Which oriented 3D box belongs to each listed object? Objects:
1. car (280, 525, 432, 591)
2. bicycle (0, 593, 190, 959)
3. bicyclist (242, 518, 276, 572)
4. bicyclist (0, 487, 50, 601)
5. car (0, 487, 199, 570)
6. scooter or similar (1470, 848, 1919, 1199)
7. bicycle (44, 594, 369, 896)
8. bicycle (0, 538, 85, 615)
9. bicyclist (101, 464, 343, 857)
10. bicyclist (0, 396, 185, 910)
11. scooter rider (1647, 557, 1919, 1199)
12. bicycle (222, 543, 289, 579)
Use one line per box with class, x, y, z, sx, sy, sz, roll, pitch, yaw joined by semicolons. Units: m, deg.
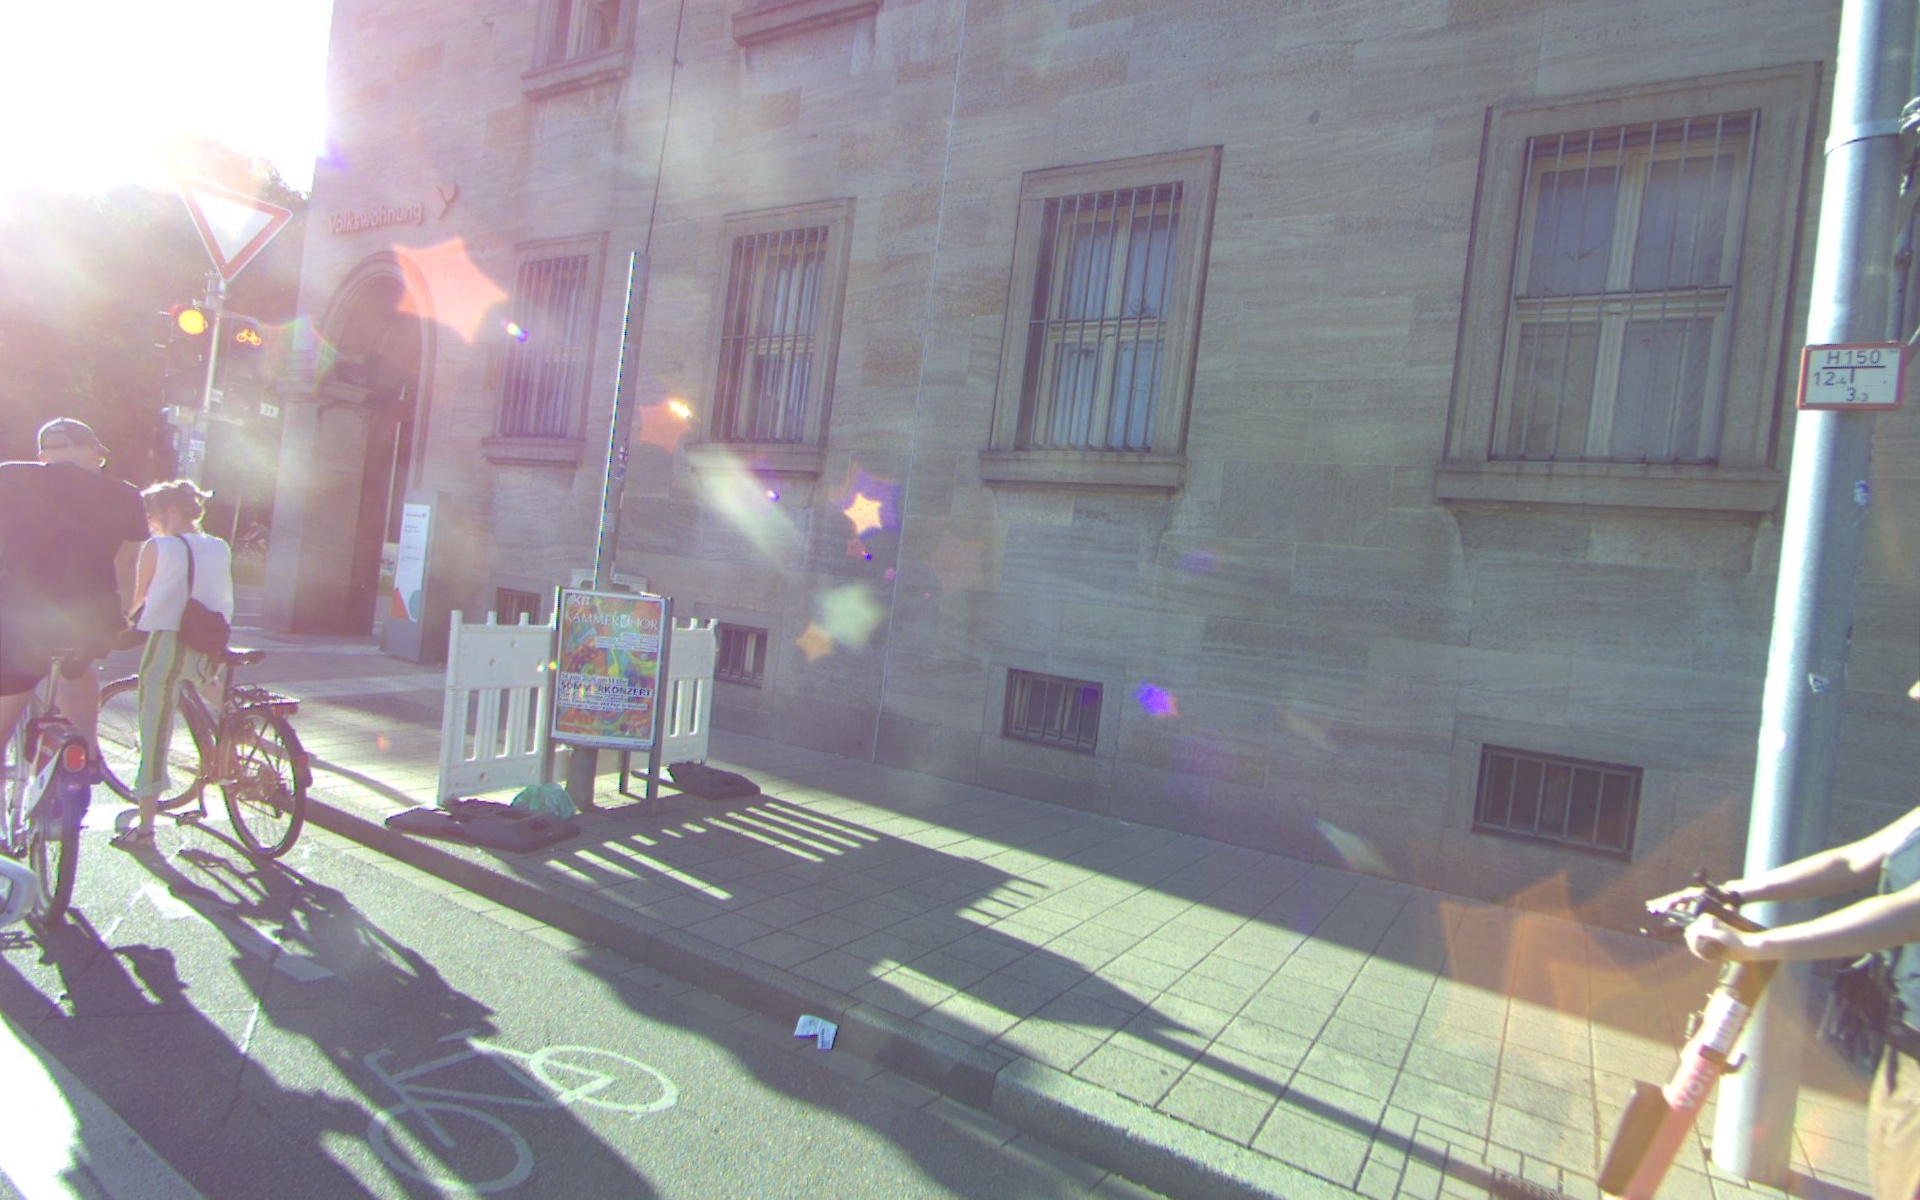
car;-19.707;-1.334;32.967;1.623;1.630;3.854;7;-1;31
bicycle;-3.717;0.578;3.925;1.700;1.090;0.516;7;-1;34
bicyclist;-23.038;-1.805;33.069;0.499;1.704;0.643;7;0;37
bicyclist;-12.991;-0.781;13.559;0.606;1.468;0.800;7;0;26
car;-23.351;-1.887;27.198;1.623;1.630;3.999;7;-1;31
scooter or similar;1.581;1.189;1.667;1.305;1.199;0.535;7;0;31
bicycle;-3.661;0.625;4.843;1.721;1.090;0.535;7;-1;31
bicycle;-13.052;-0.357;13.545;0.634;0.946;1.747;7;-1;27
bicyclist;-3.514;0.270;4.805;0.629;1.711;0.558;7;-1;30
bicyclist;-3.528;0.197;3.855;0.541;1.820;0.559;7;-1;33
scooter rider;1.573;0.832;1.692;0.547;1.691;0.730;7;0;31
bicycle;-23.121;-1.267;33.044;0.525;0.975;1.666;7;-1;37
